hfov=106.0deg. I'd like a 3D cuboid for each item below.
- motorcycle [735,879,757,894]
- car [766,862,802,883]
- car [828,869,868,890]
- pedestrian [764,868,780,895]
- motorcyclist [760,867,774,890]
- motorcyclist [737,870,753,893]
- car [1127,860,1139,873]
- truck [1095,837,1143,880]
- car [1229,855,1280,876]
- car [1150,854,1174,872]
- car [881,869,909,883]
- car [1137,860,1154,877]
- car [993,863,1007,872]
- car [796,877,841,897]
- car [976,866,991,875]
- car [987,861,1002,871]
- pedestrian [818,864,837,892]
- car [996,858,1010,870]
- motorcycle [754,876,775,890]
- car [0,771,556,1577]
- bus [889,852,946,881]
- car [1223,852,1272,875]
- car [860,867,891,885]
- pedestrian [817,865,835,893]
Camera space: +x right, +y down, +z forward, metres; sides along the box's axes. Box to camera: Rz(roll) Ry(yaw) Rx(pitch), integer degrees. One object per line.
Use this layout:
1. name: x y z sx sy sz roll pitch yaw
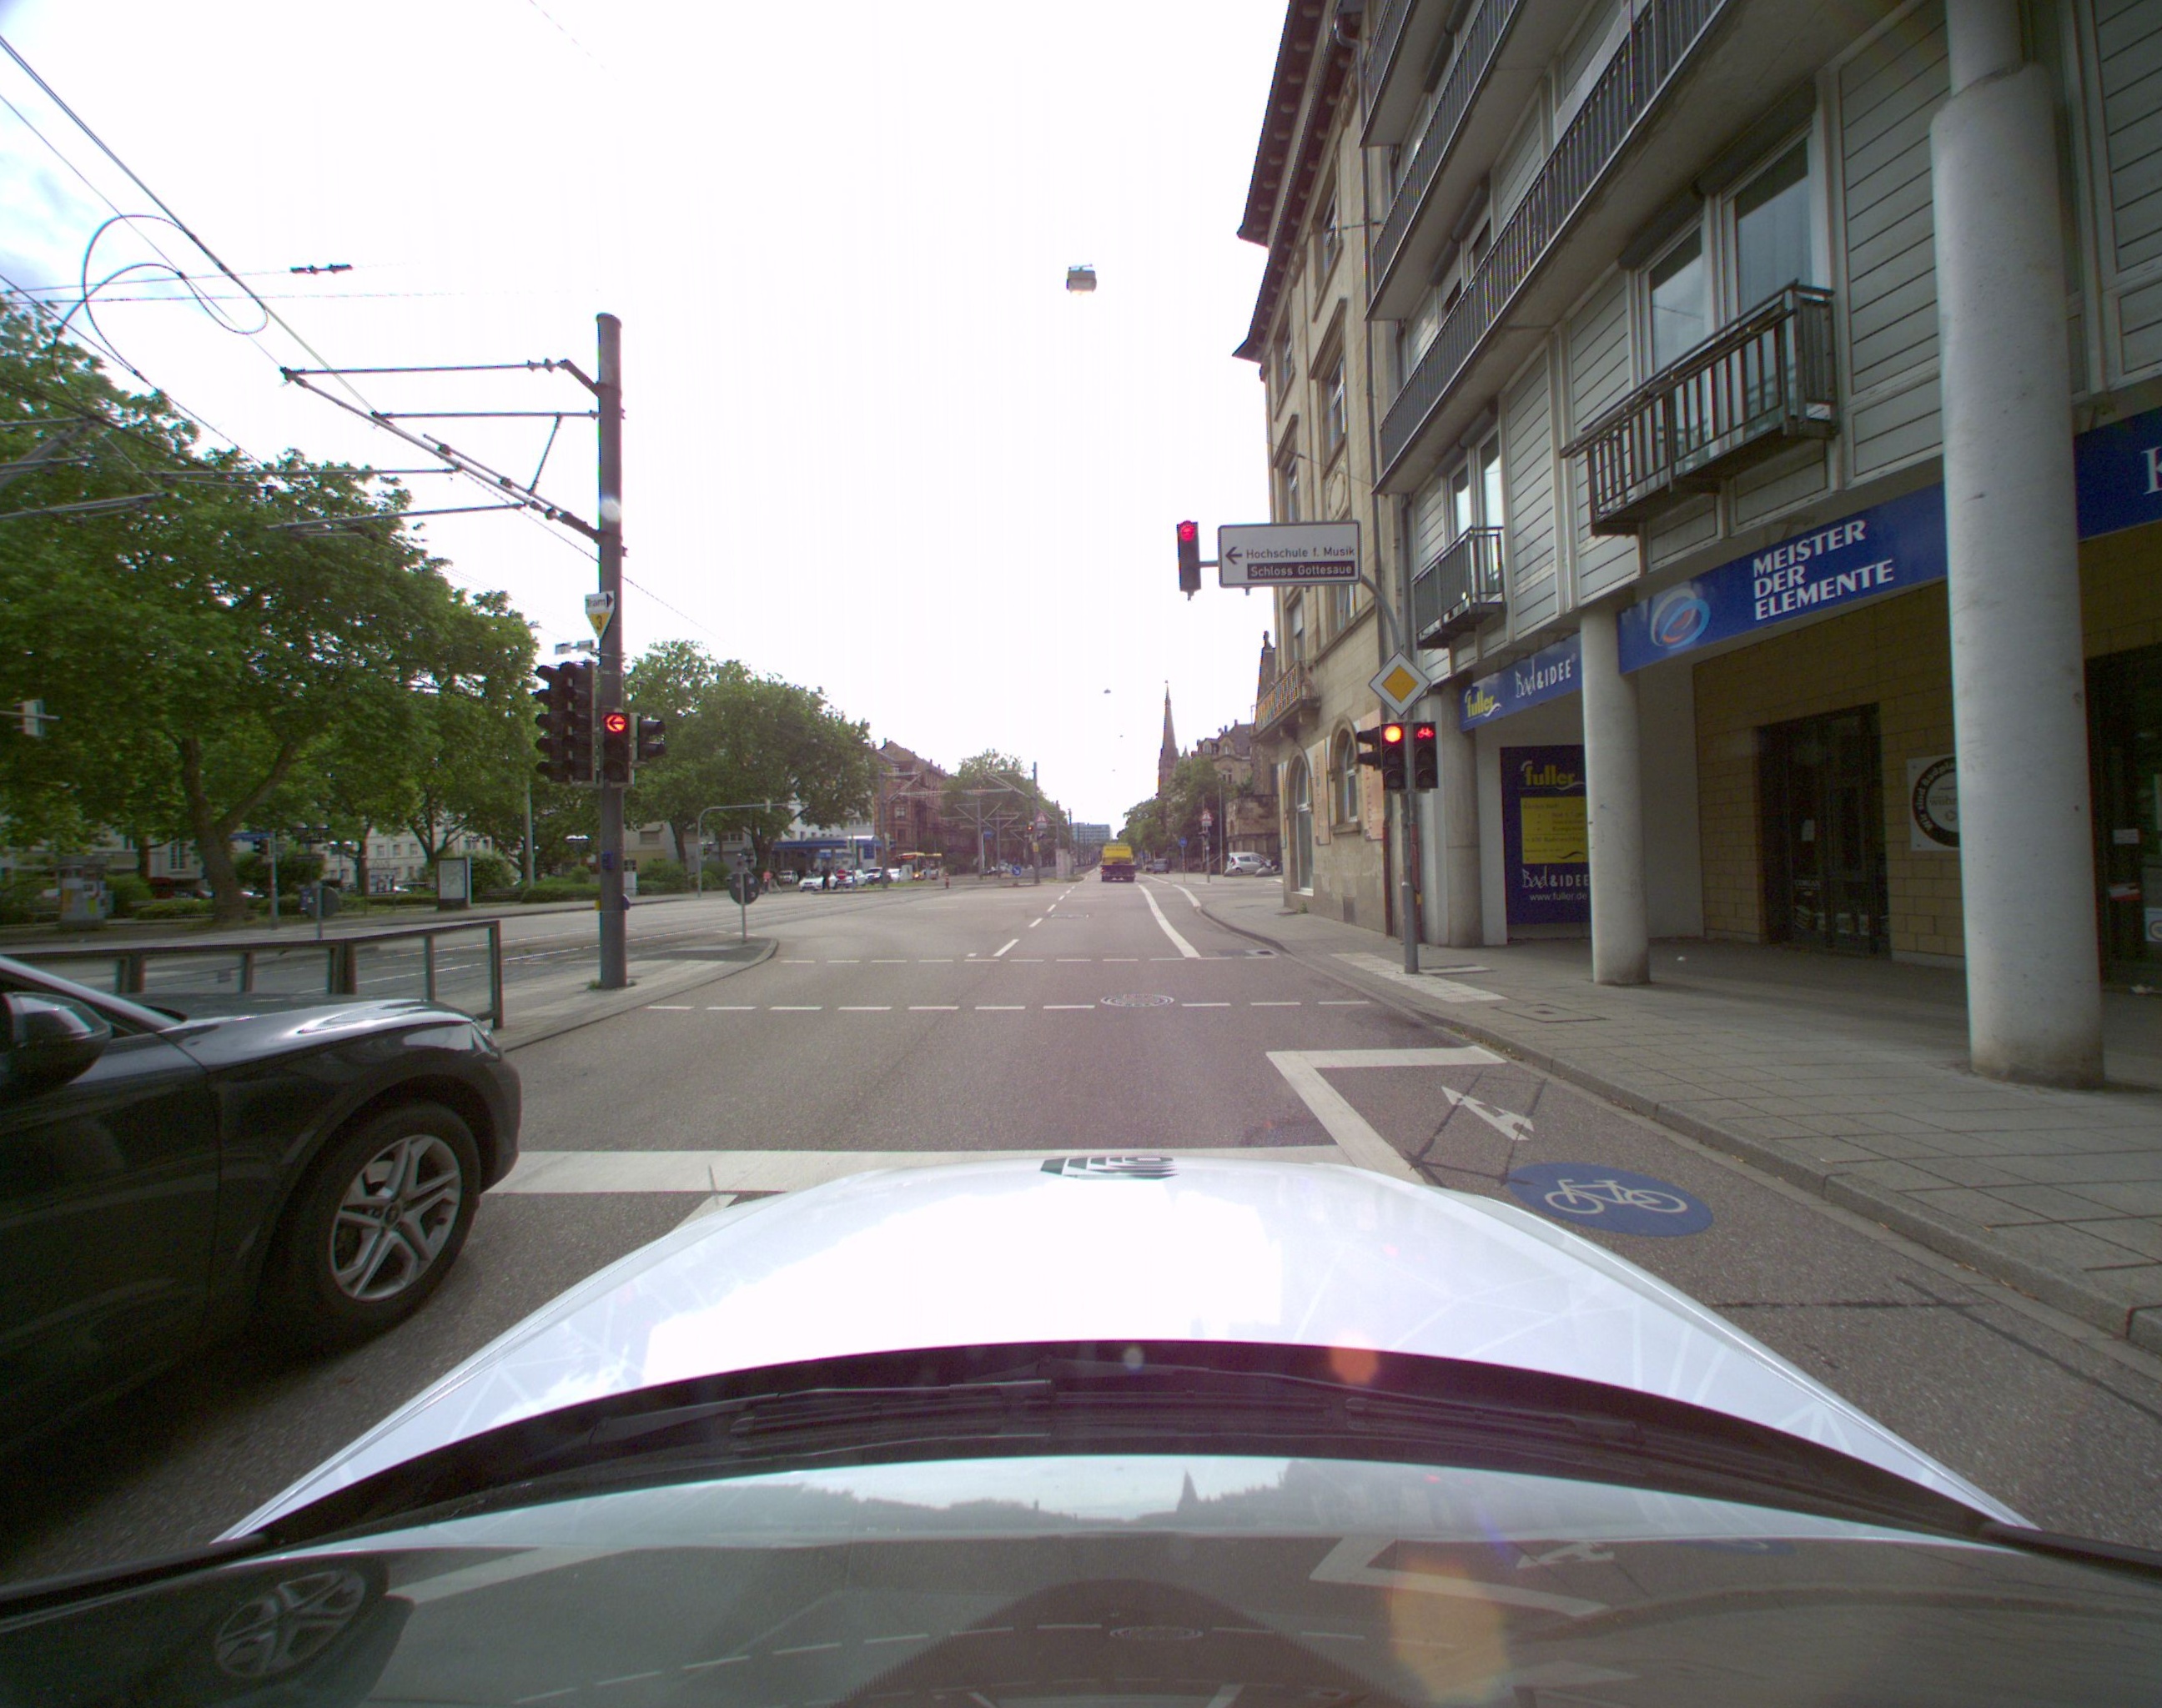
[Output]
1. motorcycle: -22.676 2.196 55.152 0.604 0.928 1.953 -2 -1 2
2. car: -29.780 1.824 81.740 1.986 2.014 4.001 -2 0 2
3. car: -18.847 2.074 66.069 1.986 1.594 4.001 0 -1 2
4. pedestrian: -19.094 1.689 50.367 0.680 1.690 0.743 0 -1 6
5. motorcyclist: -21.607 1.671 56.043 0.617 1.520 0.874 -2 -1 2
6. motorcyclist: -22.690 1.826 54.984 0.617 1.520 0.874 -2 -1 2
7. car: 8.695 2.076 136.173 1.986 2.014 4.001 0 -1 2
8. truck: 2.639 0.334 59.304 3.045 2.769 9.815 -2 0 1
9. car: 13.771 0.917 64.771 3.699 1.563 2.001 0 -1 2
10. car: 8.971 1.003 89.944 1.979 1.855 4.042 -1 -1 14
11. car: -18.161 2.120 79.634 1.649 1.321 3.641 0 -1 3
12. car: 7.891 1.714 99.625 1.985 2.014 4.004 0 -1 4
13. car: -14.904 2.539 149.842 1.986 1.610 4.001 0 -1 2
14. car: -19.165 2.396 59.556 1.739 1.321 4.079 0 -1 4
15. car: -14.971 2.487 124.793 1.649 1.321 3.641 0 -1 3
16. car: -15.052 2.090 142.085 1.986 1.610 4.001 0 -1 2
17. pedestrian: -16.274 1.529 52.254 0.867 1.713 0.876 -2 -1 4
18. car: -13.582 1.685 142.046 1.986 2.014 4.001 0 -1 2
19. motorcycle: -21.647 1.975 55.708 0.604 0.928 1.953 -2 -1 2
20. car: -3.076 0.651 1.223 1.727 1.637 4.228 0 -1 2
21. bus: -18.182 1.335 91.587 3.217 3.035 12.323 0 0 4
22. car: 13.923 0.800 68.230 3.699 1.855 2.001 0 -1 2
23. car: -18.333 1.948 72.713 1.649 1.478 3.641 0 -1 3
24. pedestrian: -16.116 1.556 51.517 0.863 1.713 0.692 -2 -1 5
